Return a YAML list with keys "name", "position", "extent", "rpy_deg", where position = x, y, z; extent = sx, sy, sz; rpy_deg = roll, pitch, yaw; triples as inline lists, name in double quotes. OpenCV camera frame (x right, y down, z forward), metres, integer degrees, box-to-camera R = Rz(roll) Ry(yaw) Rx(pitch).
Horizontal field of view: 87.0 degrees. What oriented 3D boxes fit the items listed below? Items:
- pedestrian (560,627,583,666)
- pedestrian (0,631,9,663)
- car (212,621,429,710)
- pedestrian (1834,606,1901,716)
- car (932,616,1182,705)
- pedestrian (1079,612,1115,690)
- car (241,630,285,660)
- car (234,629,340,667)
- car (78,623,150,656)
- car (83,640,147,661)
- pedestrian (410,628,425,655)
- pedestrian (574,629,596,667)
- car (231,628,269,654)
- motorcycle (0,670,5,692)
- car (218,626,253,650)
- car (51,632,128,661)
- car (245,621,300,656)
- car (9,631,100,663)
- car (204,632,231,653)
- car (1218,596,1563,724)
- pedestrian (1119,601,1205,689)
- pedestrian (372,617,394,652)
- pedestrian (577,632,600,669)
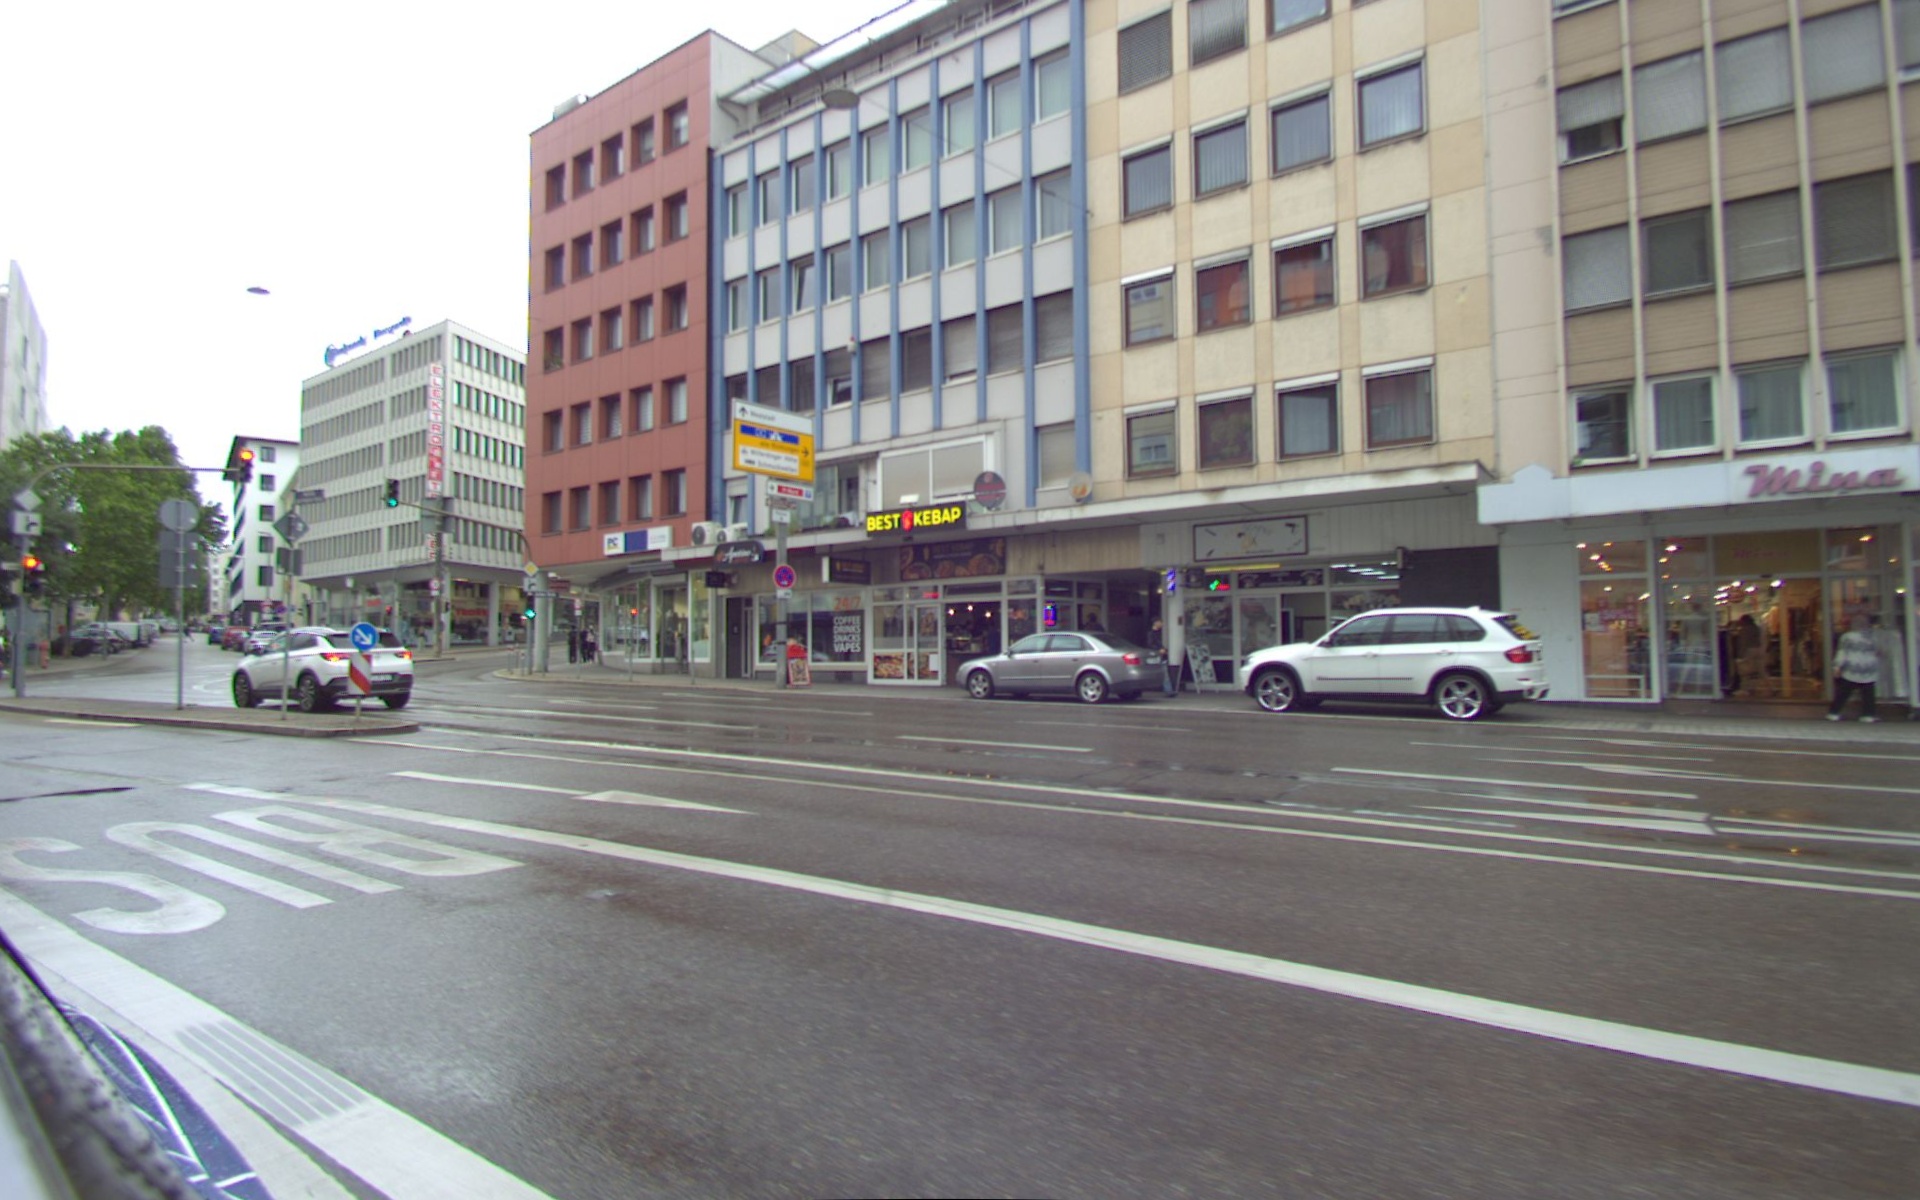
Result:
- name: "pedestrian"
  position: [-18.000, 2.132, 46.897]
  extent: [0.725, 1.761, 0.741]
  rpy_deg: [-2, -1, 8]
- name: "pedestrian"
  position: [-55.753, 2.751, 58.833]
  extent: [0.583, 1.827, 0.705]
  rpy_deg: [-2, -2, -37]
- name: "car"
  position: [-12.876, 1.306, 20.318]
  extent: [4.414, 1.563, 1.978]
  rpy_deg: [-3, -1, 32]
- name: "pedestrian"
  position: [13.529, 0.892, 15.101]
  extent: [0.643, 1.586, 0.604]
  rpy_deg: [-2, -2, 36]
- name: "car"
  position: [1.885, 1.193, 20.722]
  extent: [4.873, 1.621, 1.847]
  rpy_deg: [-2, -2, 38]
- name: "pedestrian"
  position: [3.114, 1.153, 23.005]
  extent: [0.583, 1.721, 0.441]
  rpy_deg: [-3, -2, 38]
- name: "car"
  position: [-41.851, 2.697, 60.746]
  extent: [1.970, 1.644, 4.624]
  rpy_deg: [-1, -2, -37]
- name: "car"
  position: [-32.312, 2.274, 48.727]
  extent: [1.981, 1.696, 3.981]
  rpy_deg: [-1, -1, 15]
- name: "car"
  position: [-64.237, 2.961, 76.910]
  extent: [3.770, 2.282, 1.992]
  rpy_deg: [-1, 0, -23]
- name: "car"
  position: [-55.286, 3.291, 66.279]
  extent: [2.997, 1.192, 2.057]
  rpy_deg: [-1, 0, -34]
- name: "pedestrian"
  position: [-33.095, 2.525, 61.764]
  extent: [0.703, 1.635, 0.726]
  rpy_deg: [1, -2, -35]
- name: "pedestrian"
  position: [-17.764, 2.280, 47.956]
  extent: [0.725, 1.761, 0.698]
  rpy_deg: [-2, -1, 8]
- name: "car"
  position: [-50.726, 2.926, 72.249]
  extent: [1.994, 1.763, 4.623]
  rpy_deg: [-1, -2, -38]
- name: "motorcycle"
  position: [-37.858, 3.111, 38.356]
  extent: [2.356, 0.848, 0.714]
  rpy_deg: [1, -2, -37]
- name: "car"
  position: [-55.376, 2.928, 77.322]
  extent: [1.903, 1.684, 4.453]
  rpy_deg: [-1, -2, -40]
- name: "car"
  position: [-53.990, 2.877, 62.827]
  extent: [3.489, 1.571, 1.744]
  rpy_deg: [-1, 0, -37]
- name: "car"
  position: [-44.706, 2.495, 65.774]
  extent: [2.067, 2.107, 4.616]
  rpy_deg: [-1, -2, -45]
- name: "car"
  position: [-49.808, 2.573, 55.734]
  extent: [3.487, 1.571, 1.745]
  rpy_deg: [-1, 0, -34]
- name: "car"
  position: [-72.163, 4.155, 98.335]
  extent: [1.995, 1.855, 4.053]
  rpy_deg: [-1, -2, -38]
- name: "car"
  position: [7.018, 0.949, 16.824]
  extent: [4.956, 1.841, 1.831]
  rpy_deg: [-2, -2, 38]
- name: "pedestrian"
  position: [4.166, 0.930, 20.835]
  extent: [1.416, 1.731, 0.943]
  rpy_deg: [-3, -2, 36]
- name: "pedestrian"
  position: [-33.820, 2.029, 59.310]
  extent: [0.979, 2.029, 0.949]
  rpy_deg: [1, -2, -39]
- name: "pedestrian"
  position: [-17.015, 2.324, 46.336]
  extent: [0.687, 1.642, 0.731]
  rpy_deg: [-2, -1, 10]
